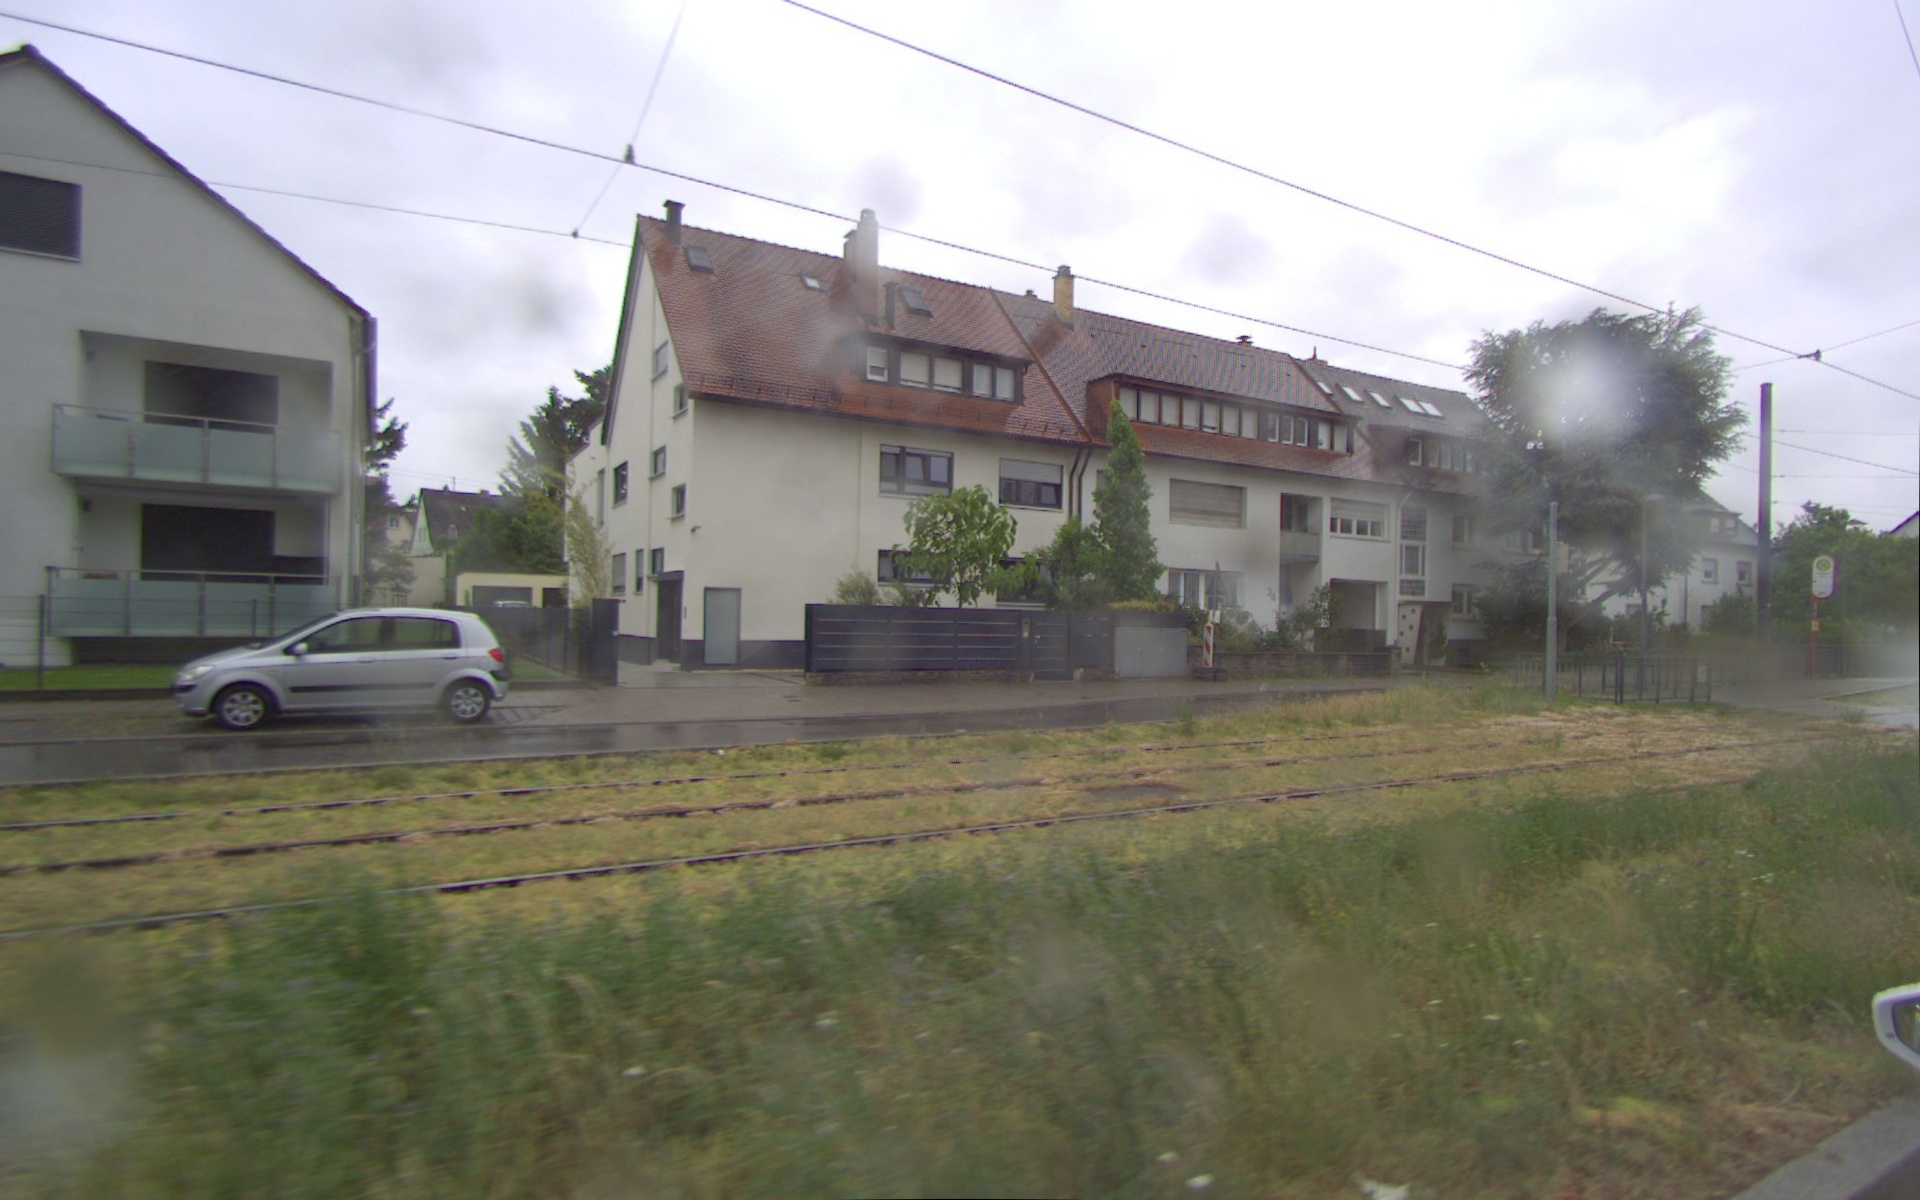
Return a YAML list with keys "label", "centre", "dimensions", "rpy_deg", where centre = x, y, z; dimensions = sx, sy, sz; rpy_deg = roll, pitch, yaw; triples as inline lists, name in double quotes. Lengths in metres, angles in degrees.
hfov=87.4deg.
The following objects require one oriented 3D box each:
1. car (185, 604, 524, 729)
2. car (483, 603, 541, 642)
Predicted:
- label: "car"
  centre: [-8.001, 0.853, 13.531]
  dimensions: [3.618, 1.432, 1.982]
  rpy_deg: [3, -1, -32]
- label: "car"
  centre: [-20.972, 1.034, 46.942]
  dimensions: [1.977, 1.639, 3.967]
  rpy_deg: [3, -1, -30]
